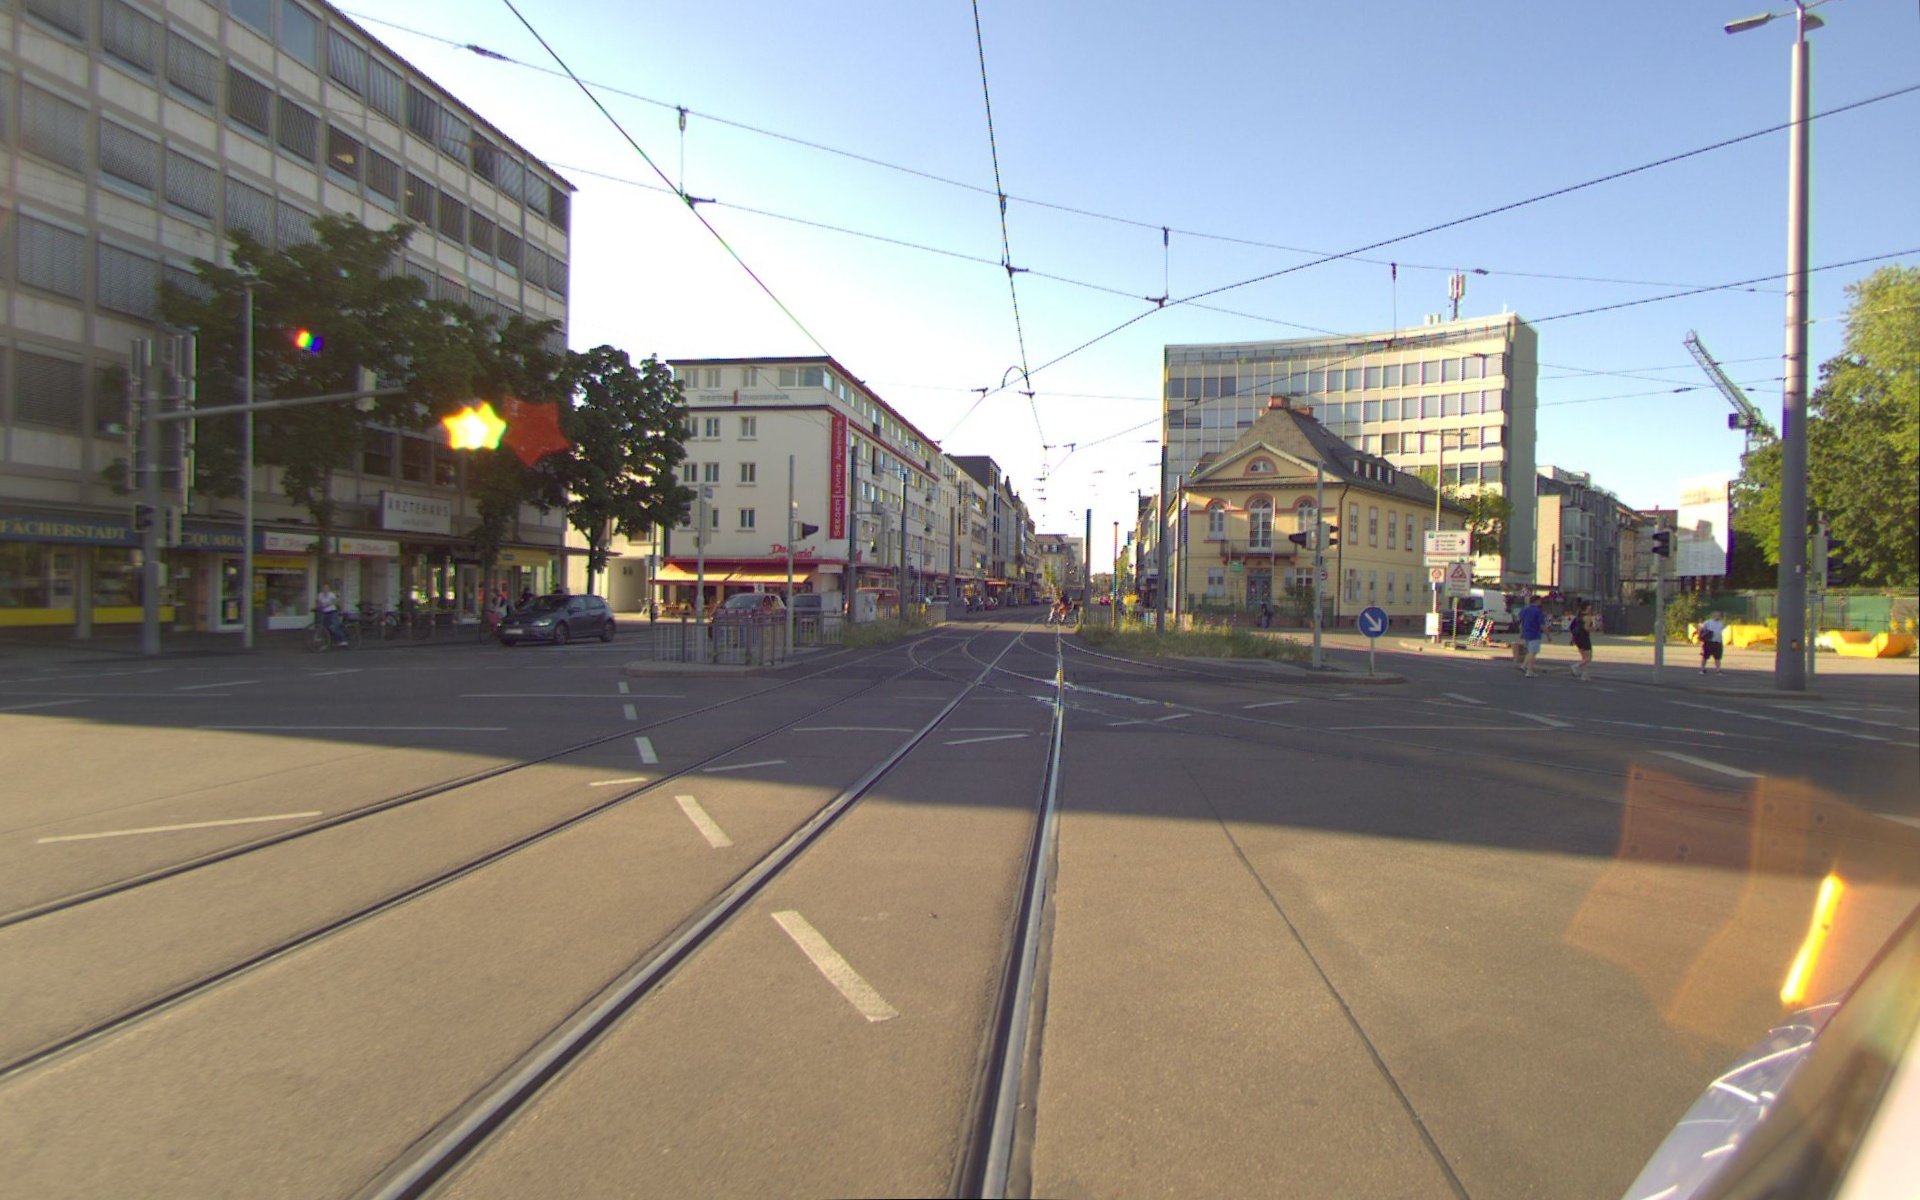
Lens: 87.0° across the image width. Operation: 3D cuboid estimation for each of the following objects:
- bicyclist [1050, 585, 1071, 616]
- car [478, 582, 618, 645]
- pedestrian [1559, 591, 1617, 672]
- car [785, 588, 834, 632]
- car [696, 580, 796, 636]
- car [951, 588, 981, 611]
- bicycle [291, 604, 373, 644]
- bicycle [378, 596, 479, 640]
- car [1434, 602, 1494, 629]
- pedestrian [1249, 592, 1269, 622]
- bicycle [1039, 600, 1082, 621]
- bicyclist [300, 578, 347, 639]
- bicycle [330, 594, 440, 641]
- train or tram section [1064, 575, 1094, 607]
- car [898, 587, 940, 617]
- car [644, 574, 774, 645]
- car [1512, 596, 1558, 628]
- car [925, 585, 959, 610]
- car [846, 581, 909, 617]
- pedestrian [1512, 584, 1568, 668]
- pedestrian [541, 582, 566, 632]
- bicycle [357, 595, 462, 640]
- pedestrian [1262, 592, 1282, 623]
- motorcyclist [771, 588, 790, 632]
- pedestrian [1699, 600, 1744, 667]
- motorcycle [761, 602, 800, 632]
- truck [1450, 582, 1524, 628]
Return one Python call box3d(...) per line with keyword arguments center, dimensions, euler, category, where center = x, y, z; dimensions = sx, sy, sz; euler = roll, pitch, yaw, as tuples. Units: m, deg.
box3d(center=(4.866, 0.026, 49.186), dimensions=(0.880, 1.476, 0.725), euler=(1, -1, -4), category="bicyclist")
box3d(center=(-11.537, 0.381, 28.667), dimensions=(1.814, 1.639, 4.070), euler=(1, -1, 9), category="car")
box3d(center=(13.513, 0.674, 21.784), dimensions=(1.022, 1.704, 0.698), euler=(2, -2, -34), category="pedestrian")
box3d(center=(-6.084, 0.417, 40.604), dimensions=(1.806, 1.639, 4.006), euler=(1, -1, -10), category="car")
box3d(center=(-6.691, 0.270, 32.041), dimensions=(1.814, 1.639, 3.989), euler=(1, -1, 9), category="car")
box3d(center=(0.608, -0.006, 94.939), dimensions=(1.968, 2.039, 4.856), euler=(1, -1, 10), category="car")
box3d(center=(-15.395, 0.581, 24.873), dimensions=(0.659, 0.952, 2.029), euler=(1, -1, 3), category="bicycle")
box3d(center=(-16.137, 0.534, 30.774), dimensions=(2.590, 1.158, 0.752), euler=(4, -1, -1), category="bicycle")
box3d(center=(27.671, 0.871, 55.549), dimensions=(4.125, 1.382, 1.709), euler=(2, -2, -45), category="car")
box3d(center=(16.490, 0.399, 55.839), dimensions=(0.800, 1.663, 0.687), euler=(1, -2, -21), category="pedestrian")
box3d(center=(4.875, 0.503, 49.174), dimensions=(1.952, 0.960, 0.724), euler=(1, -1, -3), category="bicycle")
box3d(center=(-15.425, 0.202, 24.547), dimensions=(0.659, 1.442, 0.681), euler=(1, -1, 3), category="bicyclist")
box3d(center=(-16.191, 0.489, 28.535), dimensions=(2.590, 1.158, 0.752), euler=(4, -1, -1), category="bicycle")
box3d(center=(15.467, -1.151, 132.014), dimensions=(3.651, 3.882, 13.338), euler=(1, 1, 6), category="train or tram section")
box3d(center=(-2.903, 0.171, 72.385), dimensions=(1.968, 2.039, 4.856), euler=(1, -1, 10), category="car")
box3d(center=(-6.295, 0.257, 25.865), dimensions=(1.814, 1.639, 3.989), euler=(1, -1, 9), category="car")
box3d(center=(38.120, 0.820, 67.098), dimensions=(3.699, 2.006, 1.709), euler=(2, -2, -44), category="car")
box3d(center=(-1.487, -0.178, 86.404), dimensions=(1.968, 2.039, 4.856), euler=(1, -1, 10), category="car")
box3d(center=(-4.537, -0.013, 56.567), dimensions=(1.878, 1.866, 4.599), euler=(1, -1, 18), category="car")
box3d(center=(12.859, 0.581, 22.425), dimensions=(1.022, 1.816, 0.698), euler=(2, -2, -34), category="pedestrian")
box3d(center=(-16.965, 0.294, 42.218), dimensions=(0.705, 2.039, 0.624), euler=(0, -2, 16), category="pedestrian")
box3d(center=(-16.154, 0.517, 29.734), dimensions=(2.590, 1.158, 0.752), euler=(4, -1, -1), category="bicycle")
box3d(center=(17.355, 0.418, 56.284), dimensions=(0.800, 1.663, 0.687), euler=(1, -2, -22), category="pedestrian")
box3d(center=(-6.384, 0.356, 35.996), dimensions=(0.526, 1.528, 0.460), euler=(1, -1, 9), category="motorcyclist")
box3d(center=(20.738, 0.894, 27.575), dimensions=(0.753, 1.785, 0.999), euler=(0, -2, 25), category="pedestrian")
box3d(center=(-6.376, 0.614, 36.107), dimensions=(0.526, 1.014, 2.664), euler=(1, -1, 9), category="motorcycle")
box3d(center=(31.242, 0.322, 59.920), dimensions=(5.546, 2.581, 2.294), euler=(2, -2, -45), category="truck")
